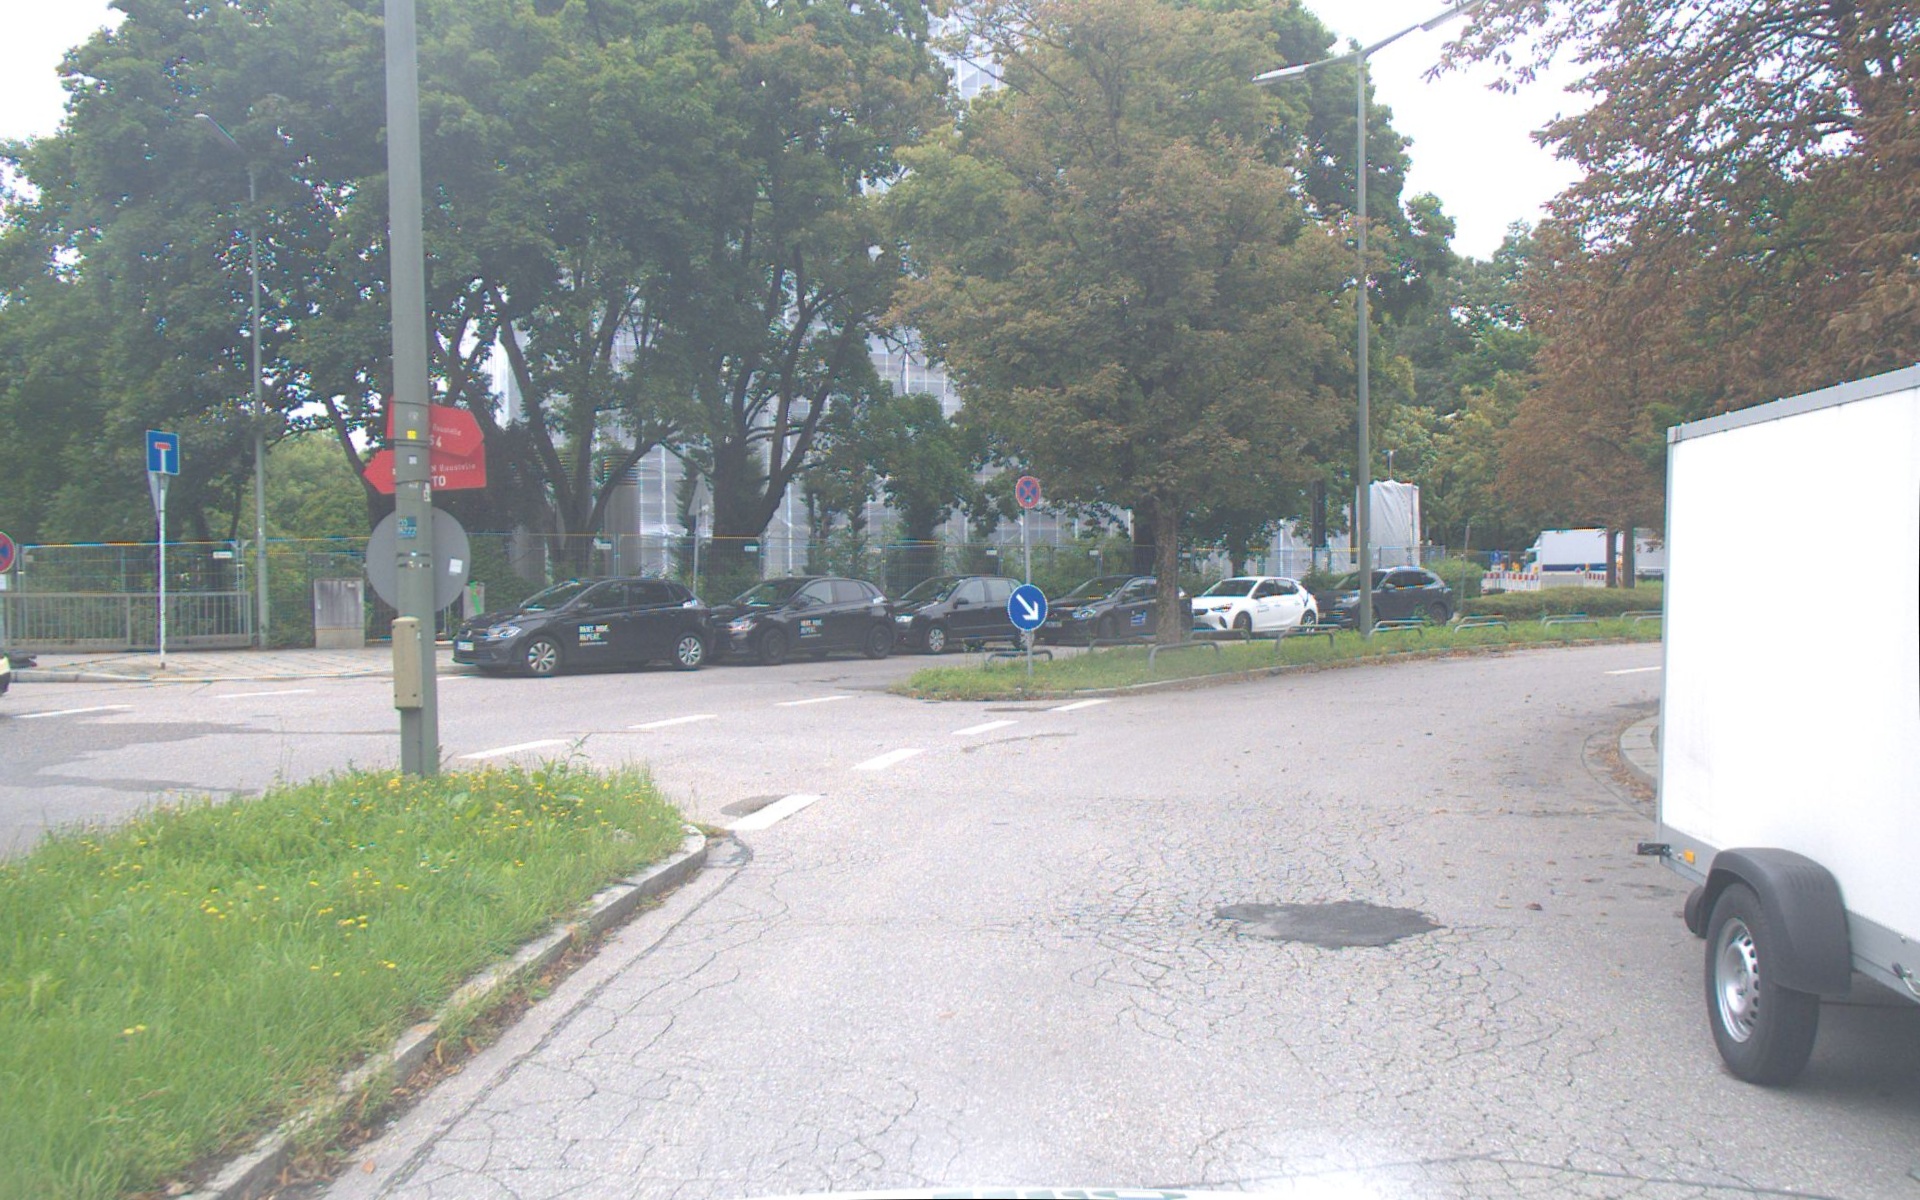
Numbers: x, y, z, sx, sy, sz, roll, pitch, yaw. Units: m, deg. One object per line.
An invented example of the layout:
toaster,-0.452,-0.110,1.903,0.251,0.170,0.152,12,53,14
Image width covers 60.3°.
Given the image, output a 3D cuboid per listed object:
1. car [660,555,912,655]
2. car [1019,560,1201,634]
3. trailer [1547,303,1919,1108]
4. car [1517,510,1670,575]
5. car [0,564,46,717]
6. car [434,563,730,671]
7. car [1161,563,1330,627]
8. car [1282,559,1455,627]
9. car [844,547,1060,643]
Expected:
car,-2.924,0.048,28.306,1.966,1.568,3.973,0,1,44
car,3.254,-0.088,35.351,1.809,1.486,3.979,-1,0,44
trailer,3.570,0.243,5.958,1.770,2.049,4.838,-1,0,8
car,36.380,-3.266,95.355,3.044,3.509,8.654,-1,1,-24
car,-12.218,0.436,17.314,4.736,1.572,1.895,0,1,18
car,-5.710,0.188,25.270,1.967,1.457,4.015,2,3,44
car,6.738,-0.129,38.769,4.186,1.408,1.773,-1,0,-44
car,10.271,-0.145,41.450,4.345,1.634,1.868,1,-1,-35
car,-0.102,-0.119,31.850,1.966,1.735,3.973,-1,0,44
